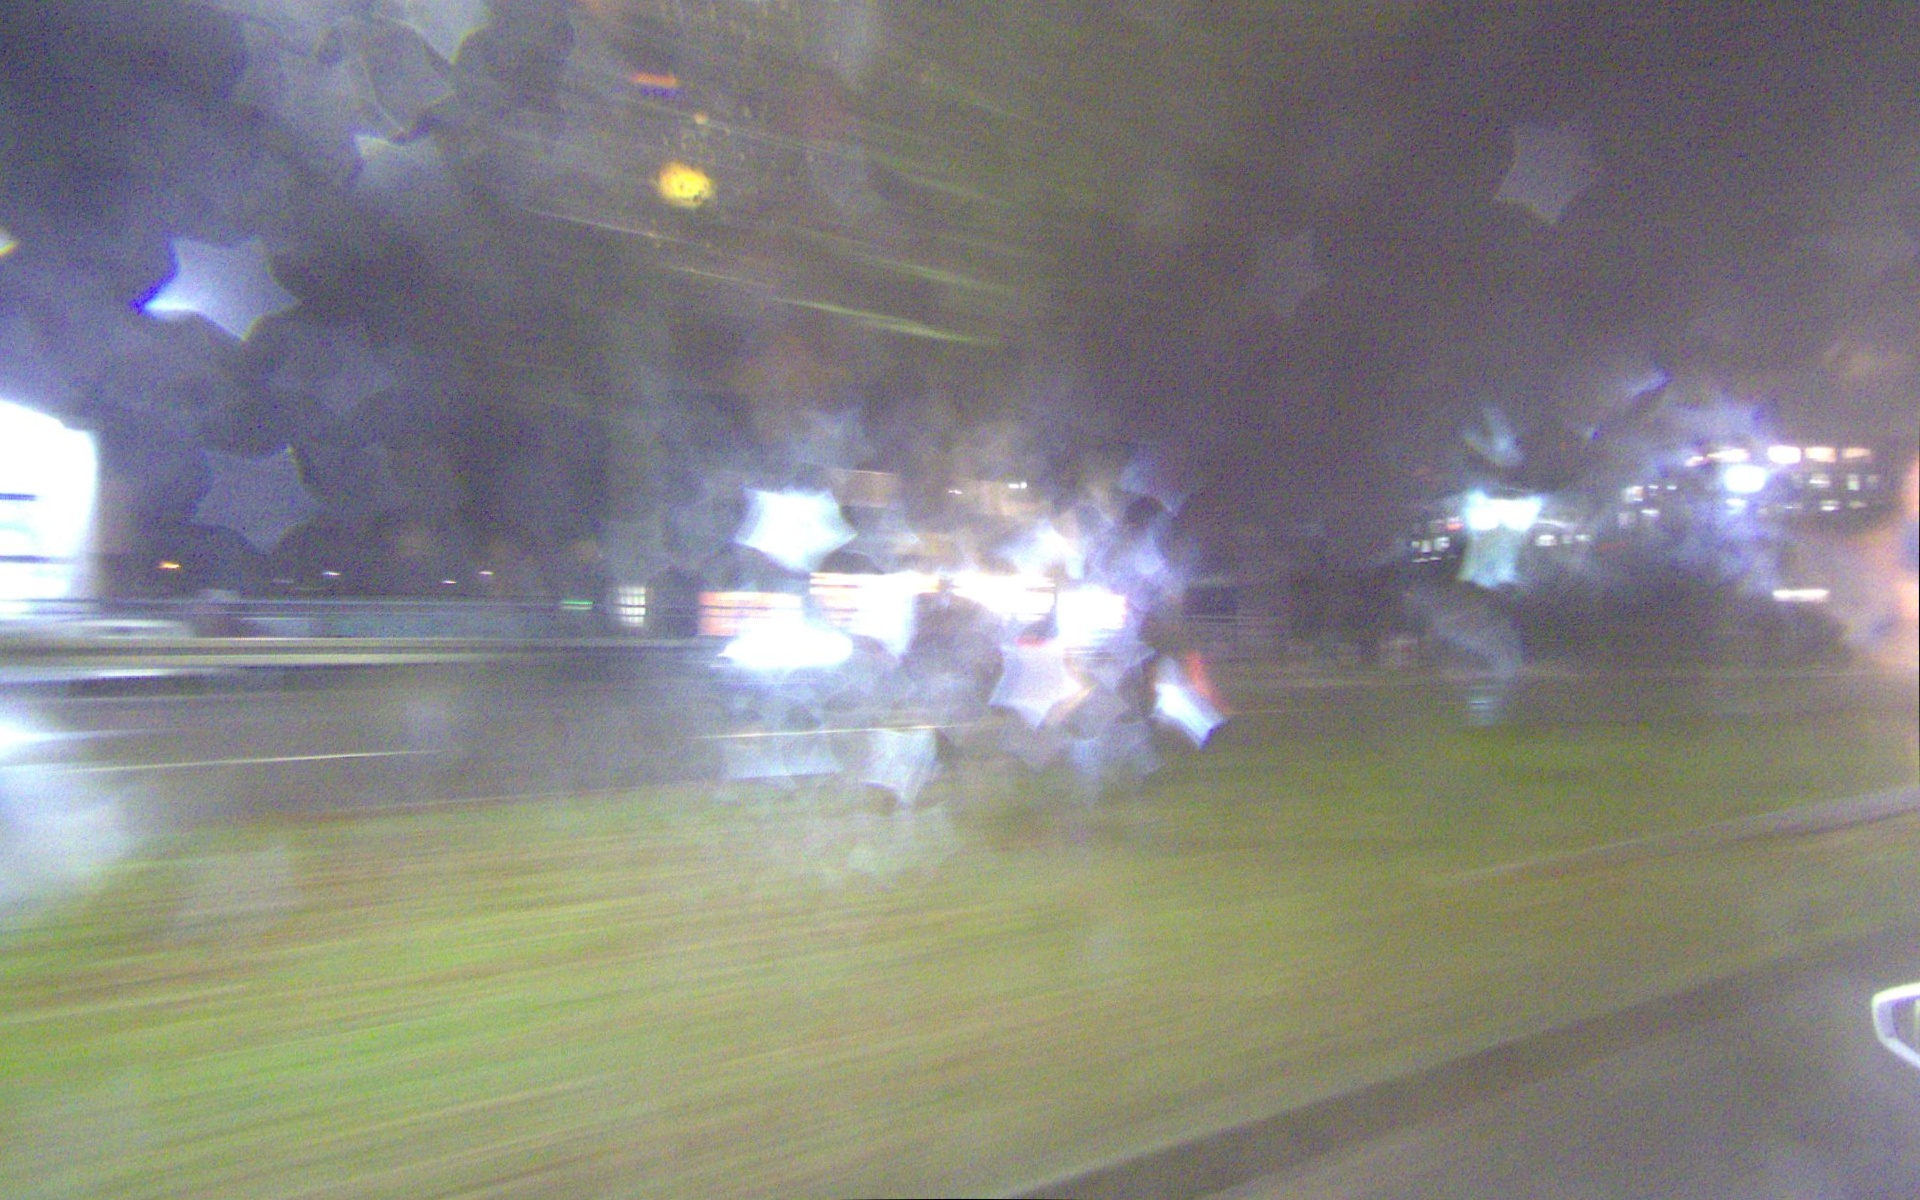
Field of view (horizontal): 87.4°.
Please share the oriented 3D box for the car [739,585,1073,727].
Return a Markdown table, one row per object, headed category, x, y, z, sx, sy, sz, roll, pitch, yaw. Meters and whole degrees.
| category | x | y | z | sx | sy | sz | roll | pitch | yaw |
| --- | --- | --- | --- | --- | --- | --- | --- | --- | --- |
| car | -0.686 | 0.703 | 13.290 | 3.955 | 1.615 | 1.983 | 2 | -1 | -31 |
